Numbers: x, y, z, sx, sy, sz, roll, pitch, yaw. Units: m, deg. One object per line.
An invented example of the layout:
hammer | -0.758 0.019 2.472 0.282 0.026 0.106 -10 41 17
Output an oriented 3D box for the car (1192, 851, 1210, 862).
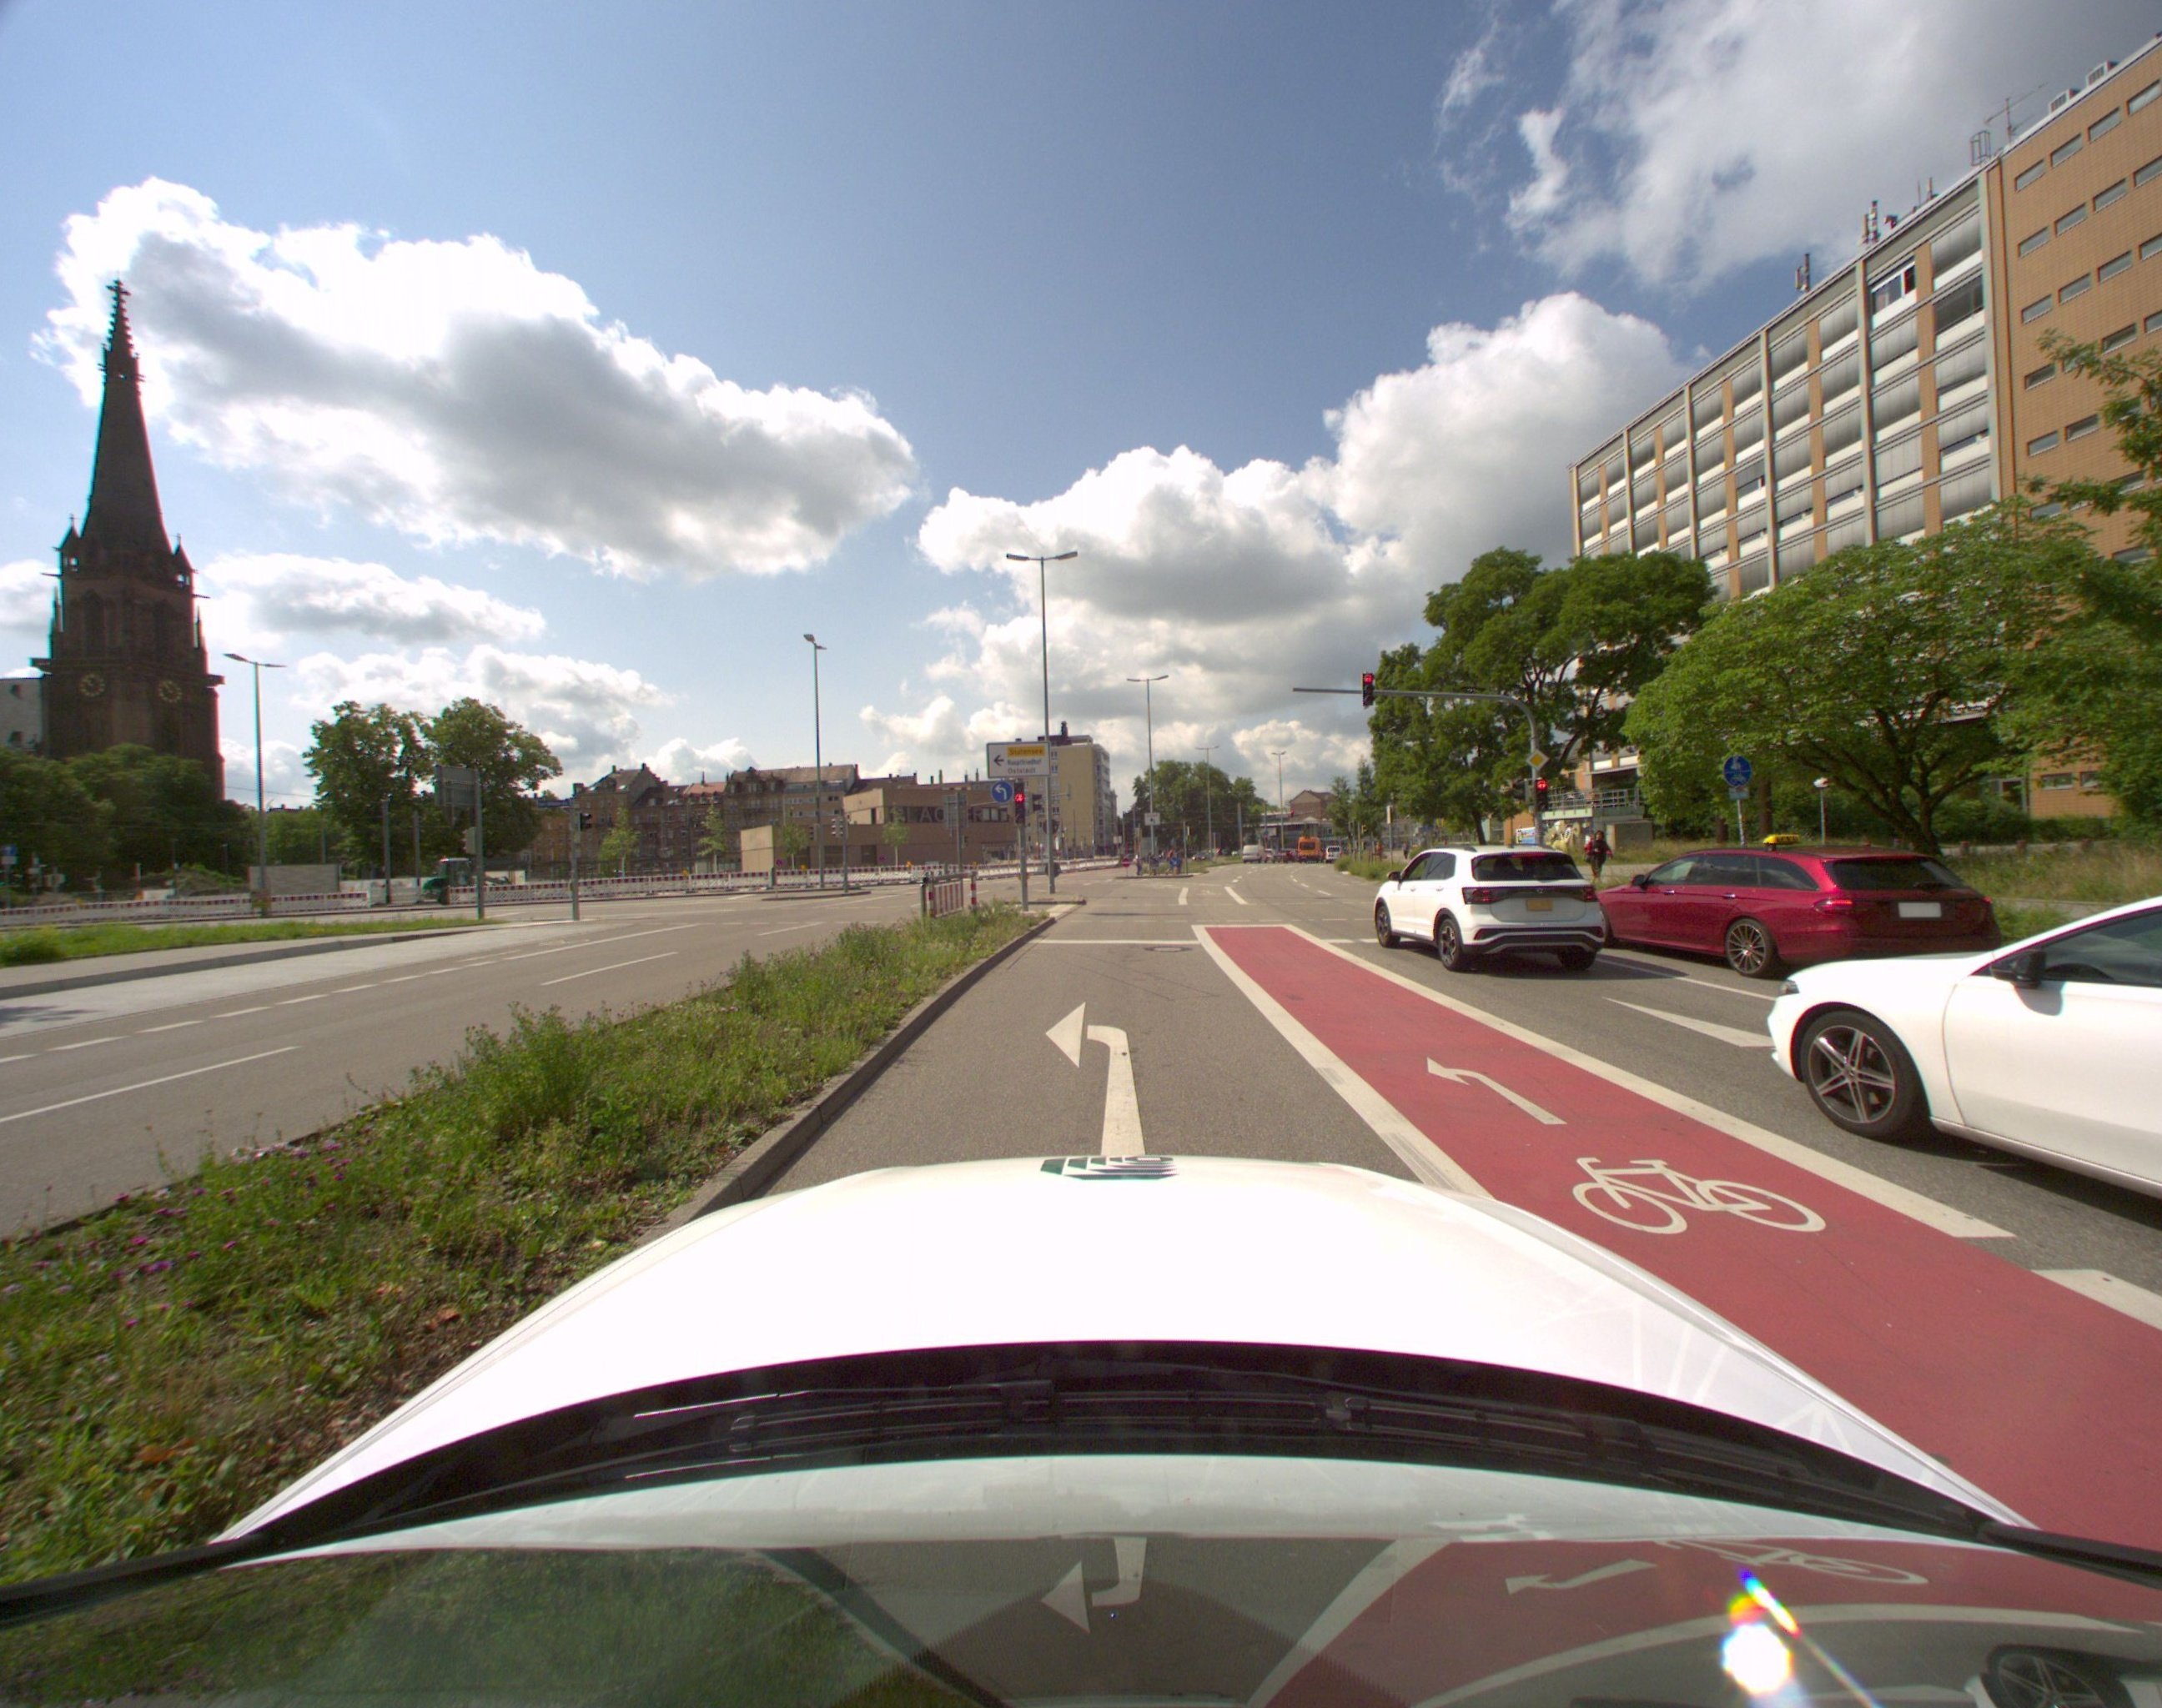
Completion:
car | 15.897 0.285 107.681 1.779 1.388 4.243 -2 0 14

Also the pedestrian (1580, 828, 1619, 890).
pedestrian | 14.886 0.151 23.413 0.736 1.735 0.682 -2 0 17

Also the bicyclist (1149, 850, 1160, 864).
bicyclist | 10.377 0.377 115.019 1.209 1.909 0.863 -2 0 22

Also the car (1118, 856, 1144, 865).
car | 8.340 1.098 134.591 4.020 1.480 1.673 1 0 13

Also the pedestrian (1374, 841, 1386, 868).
pedestrian | 19.696 0.026 53.597 0.655 1.733 0.580 -2 0 15

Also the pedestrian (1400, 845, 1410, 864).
pedestrian | 31.176 0.023 78.375 0.781 1.784 0.670 -2 0 23

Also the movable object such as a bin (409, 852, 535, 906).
movable object such as a bin | -35.656 1.419 47.783 2.259 2.885 5.575 -3 -1 45

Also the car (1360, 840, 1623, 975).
car | 5.432 0.611 11.415 1.784 1.539 4.013 -1 0 2

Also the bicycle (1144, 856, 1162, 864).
bicycle | 10.191 0.807 115.096 2.358 1.066 0.863 -2 0 22

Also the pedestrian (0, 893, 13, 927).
pedestrian | -59.566 3.109 44.954 0.524 1.850 0.500 -3 -1 8

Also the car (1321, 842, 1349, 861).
car | 25.917 -0.287 83.009 1.975 1.795 4.024 -3 0 27

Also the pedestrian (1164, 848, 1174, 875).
pedestrian | 5.533 0.466 51.423 0.521 1.733 0.625 -2 0 11

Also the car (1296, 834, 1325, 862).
car | 24.355 -0.686 86.349 2.110 2.780 4.666 -3 0 25

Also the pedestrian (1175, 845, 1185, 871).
pedestrian | 6.488 0.285 53.465 0.521 1.684 0.625 -2 0 11

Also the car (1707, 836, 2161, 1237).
car | 4.887 0.659 2.994 1.896 1.424 4.387 -2 0 2

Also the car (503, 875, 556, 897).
car | -54.084 3.117 79.858 4.200 1.882 1.782 -2 0 -37

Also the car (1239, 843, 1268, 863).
car | 19.009 -0.137 89.349 1.987 1.966 4.666 -3 0 25

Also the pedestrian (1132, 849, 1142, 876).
pedestrian | 3.639 0.518 53.080 0.521 1.733 0.625 -2 0 11

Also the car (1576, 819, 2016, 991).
car | 8.361 0.494 10.216 1.675 1.641 4.464 -2 0 2

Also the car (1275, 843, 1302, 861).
car | 22.953 -0.267 90.003 1.975 1.826 4.024 -3 0 27

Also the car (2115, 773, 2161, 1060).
car | 7.899 0.390 3.078 1.935 1.870 4.828 -2 0 2

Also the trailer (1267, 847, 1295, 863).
trailer | 21.331 0.108 86.807 1.975 1.477 4.024 -3 0 27

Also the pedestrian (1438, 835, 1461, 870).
pedestrian | 16.325 -0.070 36.050 0.766 1.508 0.553 -2 0 6

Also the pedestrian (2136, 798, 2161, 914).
pedestrian | 15.690 0.009 11.385 0.864 1.638 0.721 -2 0 3

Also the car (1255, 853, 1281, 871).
car | 22.270 0.931 96.923 1.973 1.938 4.666 -3 0 25

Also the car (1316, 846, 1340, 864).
car | 28.838 0.050 94.959 1.973 1.938 4.666 -3 0 25
